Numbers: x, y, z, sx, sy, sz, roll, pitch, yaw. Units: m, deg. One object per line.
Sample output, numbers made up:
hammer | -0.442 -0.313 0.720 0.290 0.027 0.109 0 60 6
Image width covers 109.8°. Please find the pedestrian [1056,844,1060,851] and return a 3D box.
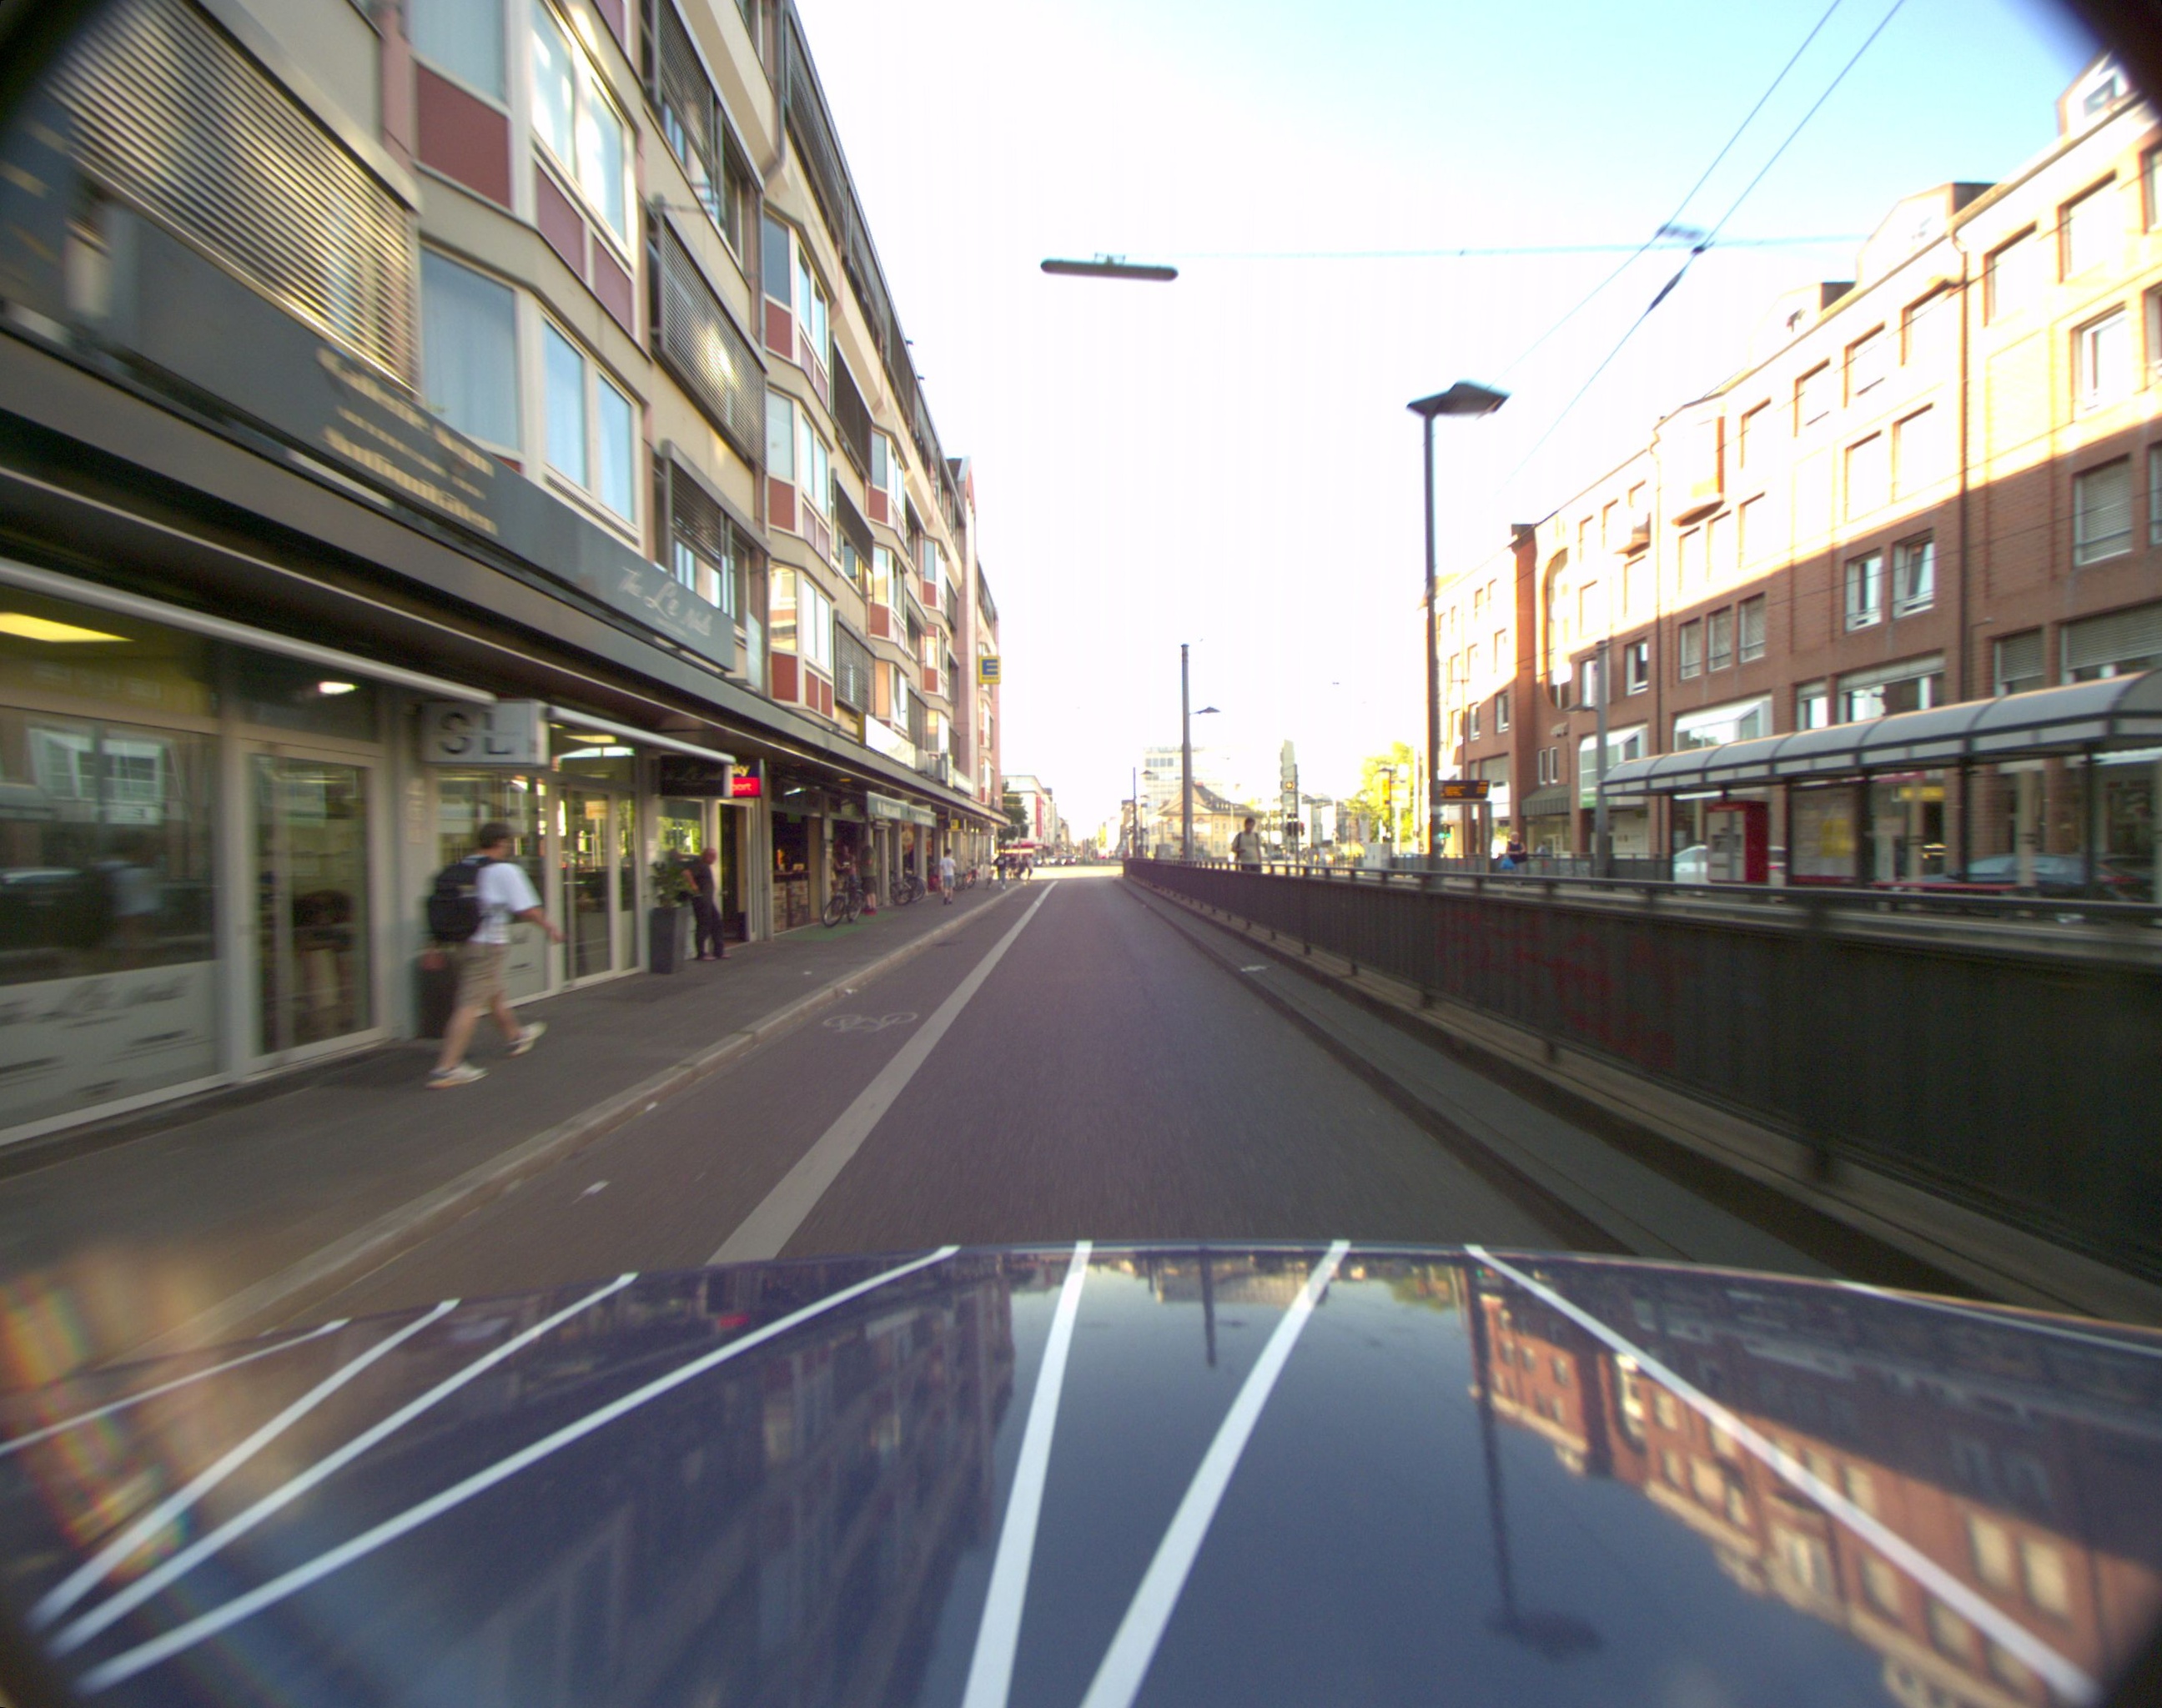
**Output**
pedestrian | -4.219 -1.188 138.676 0.597 1.434 0.613 -1 1 -12

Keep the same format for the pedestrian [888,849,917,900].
pedestrian | -5.922 0.655 25.244 0.779 1.654 0.917 1 1 -2

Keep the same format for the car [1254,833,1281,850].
car | 33.894 -2.326 137.930 2.535 3.031 6.386 2 3 37

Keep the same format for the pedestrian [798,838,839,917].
pedestrian | -6.339 0.557 18.342 0.781 1.856 0.685 0 2 -31

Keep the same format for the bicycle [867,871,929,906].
bicycle | -5.520 1.021 22.928 1.734 0.968 0.506 2 1 5

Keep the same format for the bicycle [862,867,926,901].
bicycle | -6.058 0.960 24.693 1.929 1.054 0.576 1 1 -3

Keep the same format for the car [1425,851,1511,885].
car | 18.218 0.619 36.018 1.906 1.520 4.119 0 0 -1

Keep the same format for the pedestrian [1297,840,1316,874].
pedestrian | 11.900 0.162 40.143 0.859 1.757 0.812 -3 1 13

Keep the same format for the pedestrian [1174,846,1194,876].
pedestrian | 6.522 0.437 48.151 0.812 1.793 0.859 -4 1 -29

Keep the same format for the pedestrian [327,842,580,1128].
pedestrian | -4.156 0.789 5.129 0.800 1.713 1.061 2 2 1

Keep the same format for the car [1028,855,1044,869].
car | -6.014 1.039 102.007 1.972 1.664 4.874 -2 0 -3

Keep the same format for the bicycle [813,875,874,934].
bicycle | -4.879 1.010 15.727 0.659 1.061 1.794 3 1 -1

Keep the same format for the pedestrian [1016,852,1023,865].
pedestrian | -8.116 0.631 100.609 0.860 1.700 1.051 -1 1 -5

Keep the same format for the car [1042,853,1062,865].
car | -4.570 0.778 119.560 1.974 1.664 4.868 -2 0 -17

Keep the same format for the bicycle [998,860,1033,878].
bicycle | -4.195 0.951 48.786 2.176 1.117 0.768 -1 1 -4

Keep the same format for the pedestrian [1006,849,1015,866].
pedestrian | -8.591 0.440 92.729 0.747 2.002 1.070 -4 1 -13

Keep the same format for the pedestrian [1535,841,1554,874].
pedestrian | 23.787 0.176 39.003 0.613 1.652 0.637 -1 1 -1

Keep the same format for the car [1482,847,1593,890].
car | 18.143 0.559 30.454 1.897 1.591 4.196 0 0 -1

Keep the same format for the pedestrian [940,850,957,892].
pedestrian | -5.055 0.652 29.015 0.407 1.586 0.462 3 1 28

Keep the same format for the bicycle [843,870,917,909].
bicycle | -5.687 0.997 21.566 1.929 1.054 0.576 1 1 -1

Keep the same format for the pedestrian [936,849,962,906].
pedestrian | -3.918 0.685 22.610 0.634 1.664 0.771 0 1 0

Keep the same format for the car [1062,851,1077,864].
car | -1.550 0.523 105.691 1.972 1.664 4.875 -2 0 0

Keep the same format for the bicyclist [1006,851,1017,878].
bicyclist | -4.434 0.667 48.760 0.637 1.668 0.768 -1 1 -4

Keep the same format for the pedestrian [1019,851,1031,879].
pedestrian | -3.465 0.683 46.832 0.637 1.652 0.768 3 1 -9

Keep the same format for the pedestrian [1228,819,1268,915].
pedestrian | 3.153 0.237 14.373 0.584 1.781 0.606 -1 1 -2

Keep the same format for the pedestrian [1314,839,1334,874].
pedestrian | 12.769 0.122 39.957 0.859 1.757 0.812 -3 1 14

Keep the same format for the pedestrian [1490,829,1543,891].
pedestrian | 12.071 0.163 21.096 0.913 1.652 0.967 -1 1 -1

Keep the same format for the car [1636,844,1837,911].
car | 18.125 0.562 21.349 1.914 1.585 4.289 0 2 0

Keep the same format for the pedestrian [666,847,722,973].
pedestrian | -5.230 0.741 10.291 0.543 1.664 0.468 0 1 -9

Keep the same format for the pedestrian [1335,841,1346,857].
pedestrian | 32.689 -0.610 95.681 1.073 2.002 0.989 -3 1 4

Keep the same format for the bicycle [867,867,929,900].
bicycle | -6.096 0.972 25.353 1.929 1.054 0.576 1 1 -3

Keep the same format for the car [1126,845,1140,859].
car | 9.968 -0.425 145.981 2.540 2.441 5.424 -2 0 5

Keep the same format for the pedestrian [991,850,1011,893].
pedestrian | -3.417 0.759 32.546 0.807 1.806 0.732 -1 1 -4

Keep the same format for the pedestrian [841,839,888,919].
pedestrian | -5.163 0.581 18.161 0.917 1.856 0.779 1 1 -3

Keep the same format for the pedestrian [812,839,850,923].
pedestrian | -5.677 0.590 17.229 0.780 1.856 0.686 0 2 -20

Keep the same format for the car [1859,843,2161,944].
car | 18.292 0.630 14.772 1.914 1.585 4.289 0 2 0

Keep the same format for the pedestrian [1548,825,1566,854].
pedestrian | 27.188 -0.832 43.422 0.613 1.652 0.637 -1 1 -1

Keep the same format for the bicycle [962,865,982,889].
bicycle | -4.808 1.006 33.663 0.678 0.971 1.842 3 1 -3

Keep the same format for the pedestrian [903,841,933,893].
pedestrian | -5.776 0.465 26.951 0.734 1.806 0.805 -2 1 -37

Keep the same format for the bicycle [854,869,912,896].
bicycle | -7.155 1.030 27.519 1.929 0.933 0.576 1 1 -3
